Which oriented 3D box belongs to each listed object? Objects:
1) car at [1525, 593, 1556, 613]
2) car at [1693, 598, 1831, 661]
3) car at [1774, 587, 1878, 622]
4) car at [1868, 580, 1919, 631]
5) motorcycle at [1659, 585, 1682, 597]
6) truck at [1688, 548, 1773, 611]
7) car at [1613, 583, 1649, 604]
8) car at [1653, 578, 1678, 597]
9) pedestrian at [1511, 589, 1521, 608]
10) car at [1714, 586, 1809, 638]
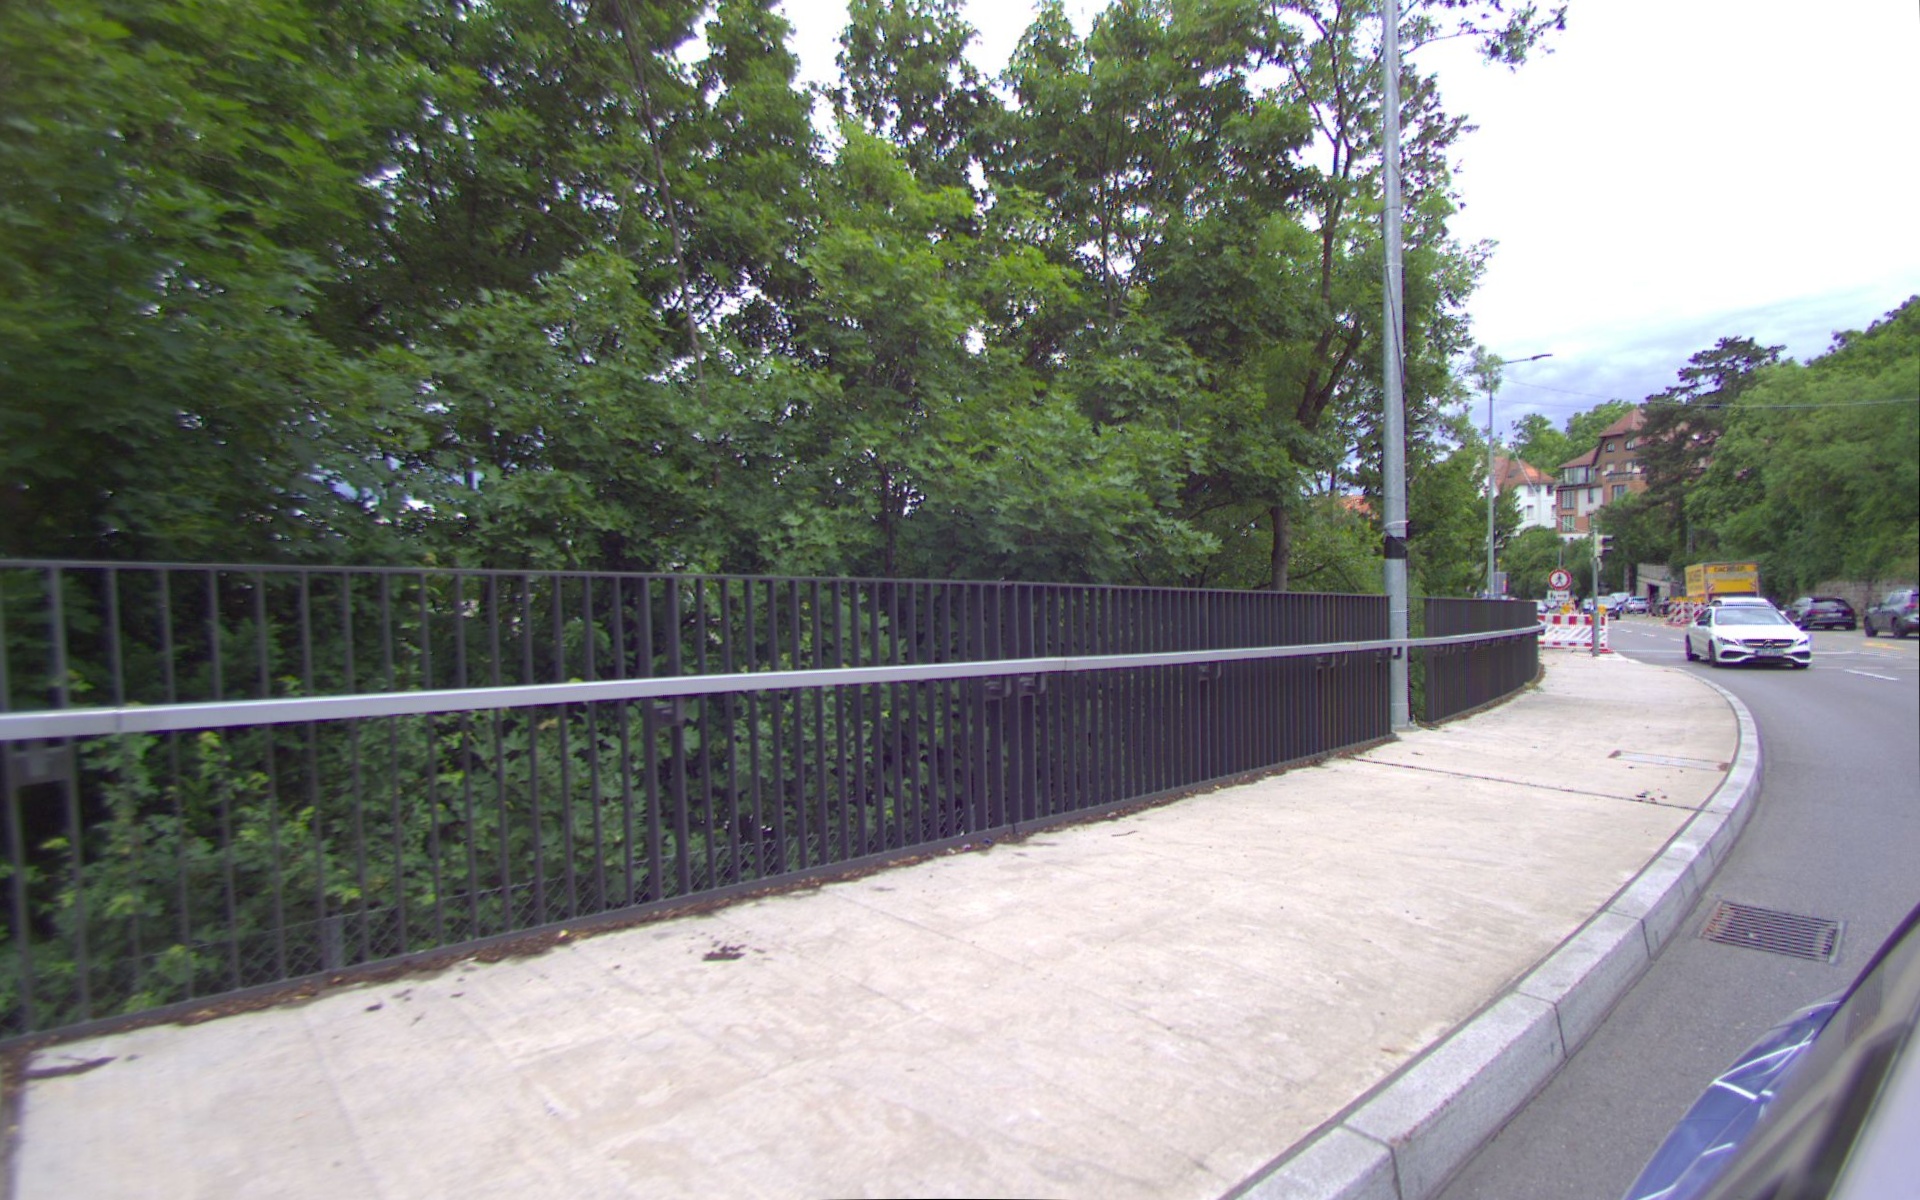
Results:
[{"bbox_3d":[45.816,0.235,79.894,1.827,1.474,4.585,-2,0,27],"label":"car"},{"bbox_3d":[18.874,0.646,24.013,1.782,1.323,4.061,-1,0,28],"label":"car"},{"bbox_3d":[38.340,0.195,44.961,1.792,1.448,4.843,-2,0,19],"label":"car"},{"bbox_3d":[33.863,0.149,35.411,1.870,1.718,4.629,-2,-1,26],"label":"car"},{"bbox_3d":[73.138,-0.921,104.156,1.828,1.197,0.631,-3,3,30],"label":"motorcycle"},{"bbox_3d":[46.689,-1.206,61.560,2.713,3.554,7.282,-1,0,27],"label":"truck"},{"bbox_3d":[63.358,-0.622,95.638,1.786,1.813,4.312,-3,-1,21],"label":"car"},{"bbox_3d":[74.010,-1.315,106.152,1.557,1.623,3.559,-3,4,26],"label":"car"},{"bbox_3d":[55.636,-0.150,101.316,0.631,1.883,0.831,1,0,15],"label":"pedestrian"},{"bbox_3d":[26.737,0.375,33.882,1.871,1.598,3.957,-3,-1,31],"label":"car"}]
